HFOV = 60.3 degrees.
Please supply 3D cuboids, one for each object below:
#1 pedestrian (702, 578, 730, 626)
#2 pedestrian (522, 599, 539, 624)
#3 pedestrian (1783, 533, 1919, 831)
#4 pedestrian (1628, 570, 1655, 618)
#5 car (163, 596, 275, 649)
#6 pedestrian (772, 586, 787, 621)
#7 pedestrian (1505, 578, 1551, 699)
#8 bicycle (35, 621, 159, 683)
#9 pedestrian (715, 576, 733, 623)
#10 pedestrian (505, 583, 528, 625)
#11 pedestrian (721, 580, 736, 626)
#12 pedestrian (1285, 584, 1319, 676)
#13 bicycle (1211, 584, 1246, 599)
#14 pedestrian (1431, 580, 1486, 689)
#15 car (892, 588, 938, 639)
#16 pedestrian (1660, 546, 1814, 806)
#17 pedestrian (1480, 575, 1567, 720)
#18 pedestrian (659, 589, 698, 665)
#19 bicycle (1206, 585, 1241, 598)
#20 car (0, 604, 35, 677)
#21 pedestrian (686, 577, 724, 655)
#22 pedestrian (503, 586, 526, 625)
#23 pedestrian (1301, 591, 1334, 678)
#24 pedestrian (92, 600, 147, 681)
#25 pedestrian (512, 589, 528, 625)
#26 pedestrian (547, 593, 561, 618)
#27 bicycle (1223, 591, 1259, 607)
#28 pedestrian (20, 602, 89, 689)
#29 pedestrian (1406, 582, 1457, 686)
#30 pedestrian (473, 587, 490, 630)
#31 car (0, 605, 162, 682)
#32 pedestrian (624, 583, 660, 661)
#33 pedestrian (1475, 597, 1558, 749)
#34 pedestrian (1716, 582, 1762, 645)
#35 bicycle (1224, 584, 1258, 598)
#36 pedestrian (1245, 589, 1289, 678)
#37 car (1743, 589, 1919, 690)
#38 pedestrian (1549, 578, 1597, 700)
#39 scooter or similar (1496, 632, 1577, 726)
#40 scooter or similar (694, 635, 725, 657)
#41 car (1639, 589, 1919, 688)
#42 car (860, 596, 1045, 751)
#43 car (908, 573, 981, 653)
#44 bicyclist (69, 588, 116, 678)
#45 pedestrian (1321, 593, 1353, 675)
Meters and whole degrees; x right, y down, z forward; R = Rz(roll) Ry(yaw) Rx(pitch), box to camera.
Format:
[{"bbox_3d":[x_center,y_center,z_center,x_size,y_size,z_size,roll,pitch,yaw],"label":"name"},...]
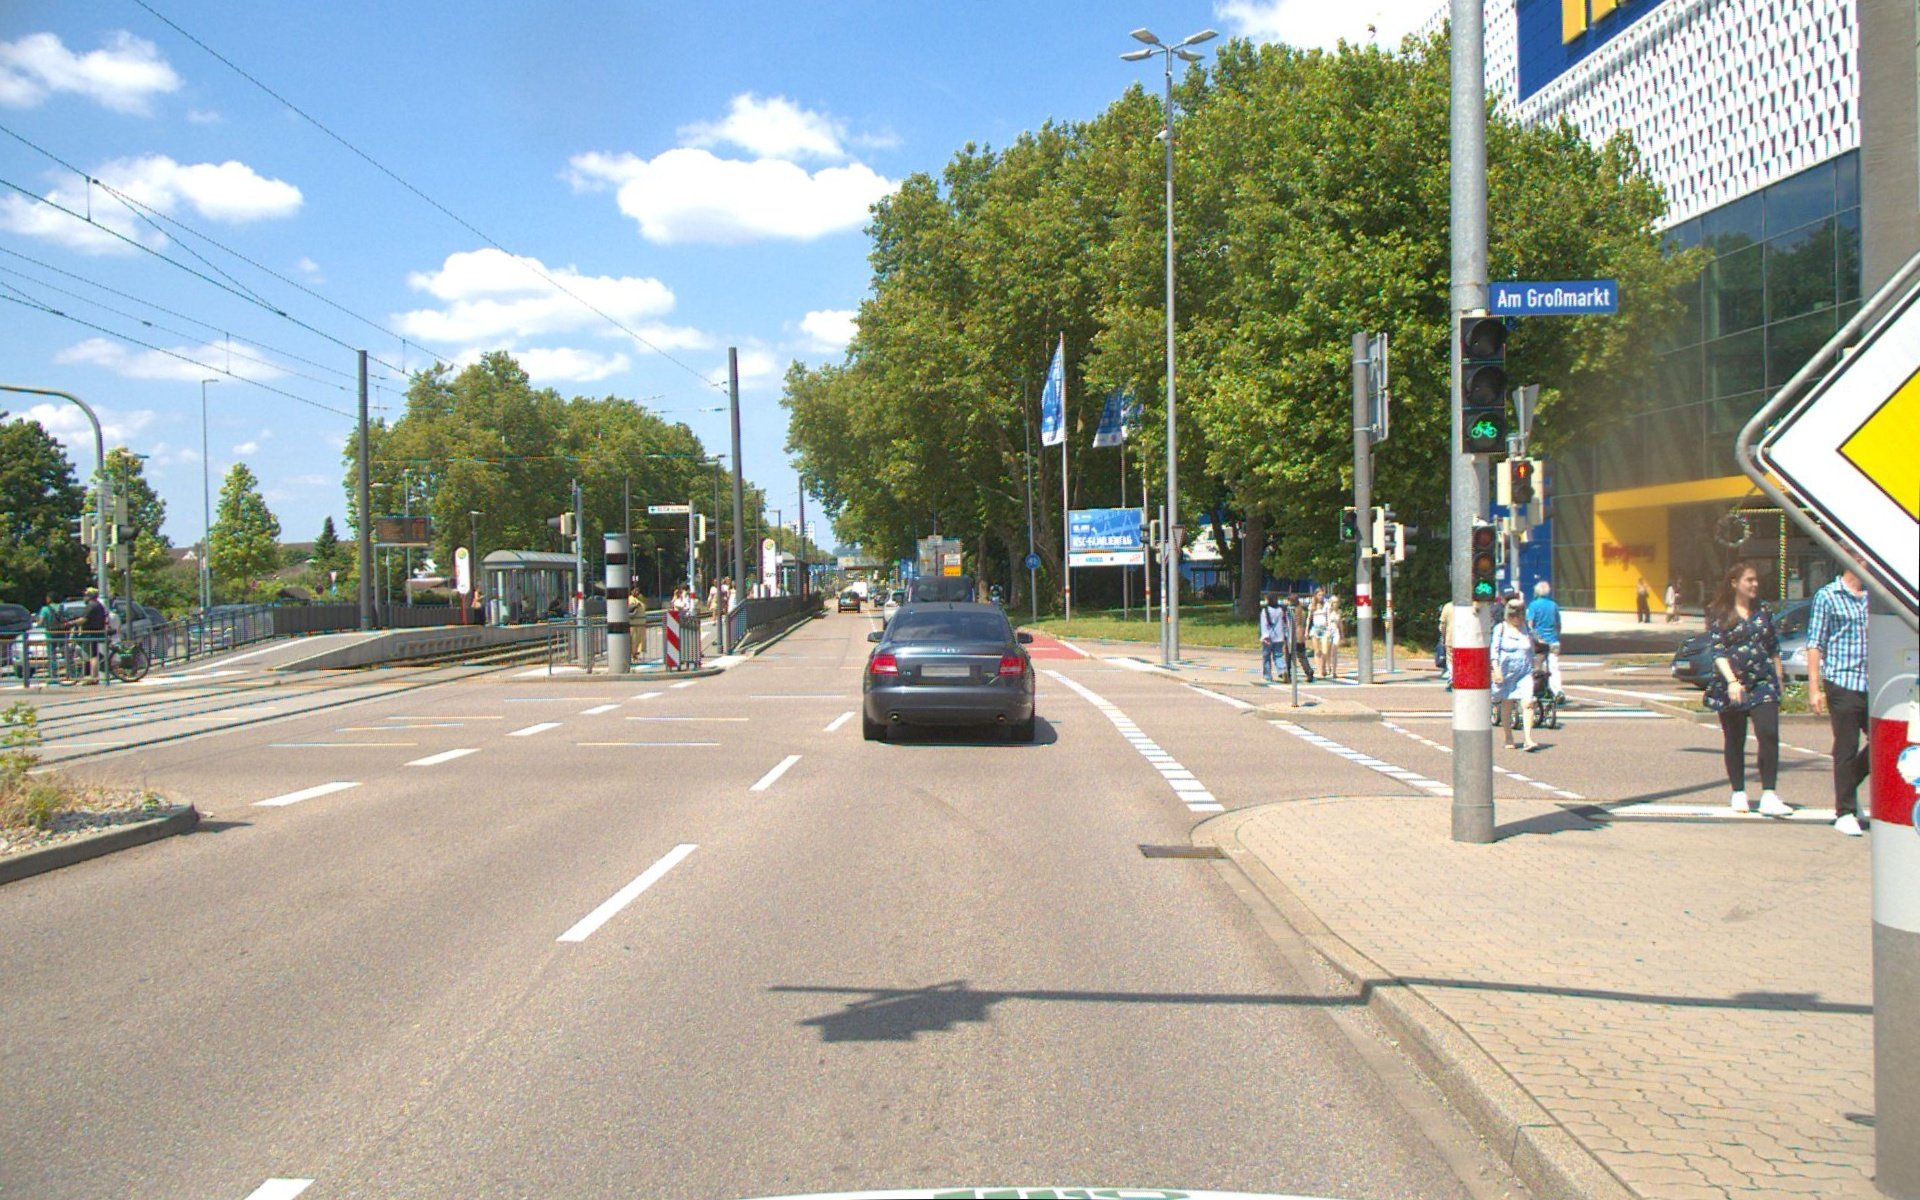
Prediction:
[{"bbox_3d":[-8.439,0.071,57.220,0.873,1.633,0.923,-1,0,-5],"label":"pedestrian"},{"bbox_3d":[-19.303,0.518,74.331,0.565,1.114,0.638,-1,0,-3],"label":"pedestrian"},{"bbox_3d":[6.030,0.523,10.939,0.787,1.897,0.798,0,0,1],"label":"pedestrian"},{"bbox_3d":[25.692,-0.226,62.362,0.764,1.766,0.742,0,0,9],"label":"pedestrian"},{"bbox_3d":[-24.122,0.704,54.002,1.953,1.657,3.998,0,0,-2],"label":"car"},{"bbox_3d":[-8.822,0.175,80.890,0.718,1.694,0.741,0,0,-4],"label":"pedestrian"},{"bbox_3d":[8.031,0.539,23.412,0.593,1.666,0.864,0,-1,18],"label":"pedestrian"},{"bbox_3d":[-16.109,0.964,30.934,1.941,1.120,0.760,0,0,-19],"label":"bicycle"},{"bbox_3d":[-8.626,-0.009,60.400,0.601,1.711,0.719,0,0,-5],"label":"pedestrian"},{"bbox_3d":[-18.835,0.180,70.259,0.723,1.759,0.576,-1,0,34],"label":"pedestrian"},{"bbox_3d":[-8.262,0.101,59.102,0.487,1.605,0.556,-1,0,-5],"label":"pedestrian"},{"bbox_3d":[6.466,0.563,31.251,0.609,1.712,0.726,0,0,14],"label":"pedestrian"},{"bbox_3d":[19.860,-0.638,122.382,2.498,1.130,0.757,0,0,-8],"label":"bicycle"},{"bbox_3d":[7.866,0.539,26.133,0.778,1.688,0.853,0,0,14],"label":"pedestrian"},{"bbox_3d":[-1.816,0.521,67.101,1.811,1.994,4.143,0,0,-2],"label":"car"},{"bbox_3d":[5.552,0.523,11.864,0.786,1.790,0.798,0,0,6],"label":"pedestrian"},{"bbox_3d":[6.738,0.553,19.817,0.766,1.702,0.947,0,0,4],"label":"pedestrian"},{"bbox_3d":[-5.993,0.558,35.246,0.770,1.600,0.763,0,0,-7],"label":"pedestrian"},{"bbox_3d":[19.726,-0.634,123.645,2.498,0.987,0.757,0,0,-8],"label":"bicycle"},{"bbox_3d":[-22.992,0.952,37.448,1.953,1.657,3.998,0,1,-2],"label":"car"},{"bbox_3d":[-6.065,0.375,39.389,0.846,1.833,0.882,0,0,-7],"label":"pedestrian"},{"bbox_3d":[-19.298,0.230,71.675,0.811,1.667,0.576,-1,0,34],"label":"pedestrian"},{"bbox_3d":[6.996,0.666,32.345,0.516,1.695,0.640,0,0,1],"label":"pedestrian"},{"bbox_3d":[-16.780,0.801,33.027,0.747,1.575,0.763,0,0,-6],"label":"pedestrian"},{"bbox_3d":[-19.271,0.288,72.449,0.565,1.560,0.638,-1,0,-3],"label":"pedestrian"},{"bbox_3d":[-20.107,0.269,81.887,0.565,1.211,0.638,-1,0,-3],"label":"pedestrian"},{"bbox_3d":[20.418,-0.096,120.263,2.498,1.130,0.757,0,0,-8],"label":"bicycle"},{"bbox_3d":[-17.475,0.861,31.934,0.938,1.638,0.763,0,0,-6],"label":"pedestrian"},{"bbox_3d":[7.769,0.544,27.292,0.778,1.688,0.853,0,0,14],"label":"pedestrian"},{"bbox_3d":[-18.774,0.326,64.915,0.547,1.666,0.804,-1,0,-11],"label":"pedestrian"},{"bbox_3d":[-20.211,0.946,37.960,1.953,1.657,3.998,0,0,-2],"label":"car"},{"bbox_3d":[-6.989,0.469,36.392,0.718,1.702,0.677,0,0,-7],"label":"pedestrian"},{"bbox_3d":[5.666,0.728,16.869,0.577,1.502,0.806,1,0,1],"label":"pedestrian"},{"bbox_3d":[20.463,0.350,43.447,0.901,1.614,0.632,-1,0,-9],"label":"pedestrian"},{"bbox_3d":[20.075,-0.663,118.033,2.272,0.977,0.757,0,0,-8],"label":"bicycle"},{"bbox_3d":[5.713,0.609,30.721,0.749,1.634,0.897,0,0,14],"label":"pedestrian"},{"bbox_3d":[13.687,0.545,24.087,3.747,1.421,1.802,0,0,-3],"label":"car"},{"bbox_3d":[8.591,0.543,23.190,0.589,1.666,0.864,0,-1,18],"label":"pedestrian"},{"bbox_3d":[6.691,0.905,19.228,0.675,1.049,0.863,0,0,4],"label":"scooter or similar"},{"bbox_3d":[-5.986,1.097,39.588,0.712,0.514,0.457,-1,0,-7],"label":"scooter or similar"},{"bbox_3d":[13.627,0.613,27.440,3.909,1.583,1.998,0,0,-5],"label":"car"},{"bbox_3d":[-0.048,0.725,18.203,1.804,1.510,4.000,0,0,1],"label":"car"},{"bbox_3d":[-0.447,0.320,43.494,1.811,1.994,4.143,0,0,-2],"label":"car"},{"bbox_3d":[-16.099,0.610,30.720,0.654,1.643,0.729,0,0,-19],"label":"bicyclist"},{"bbox_3d":[7.488,0.672,32.860,0.516,1.607,0.612,0,0,1],"label":"pedestrian"}]
